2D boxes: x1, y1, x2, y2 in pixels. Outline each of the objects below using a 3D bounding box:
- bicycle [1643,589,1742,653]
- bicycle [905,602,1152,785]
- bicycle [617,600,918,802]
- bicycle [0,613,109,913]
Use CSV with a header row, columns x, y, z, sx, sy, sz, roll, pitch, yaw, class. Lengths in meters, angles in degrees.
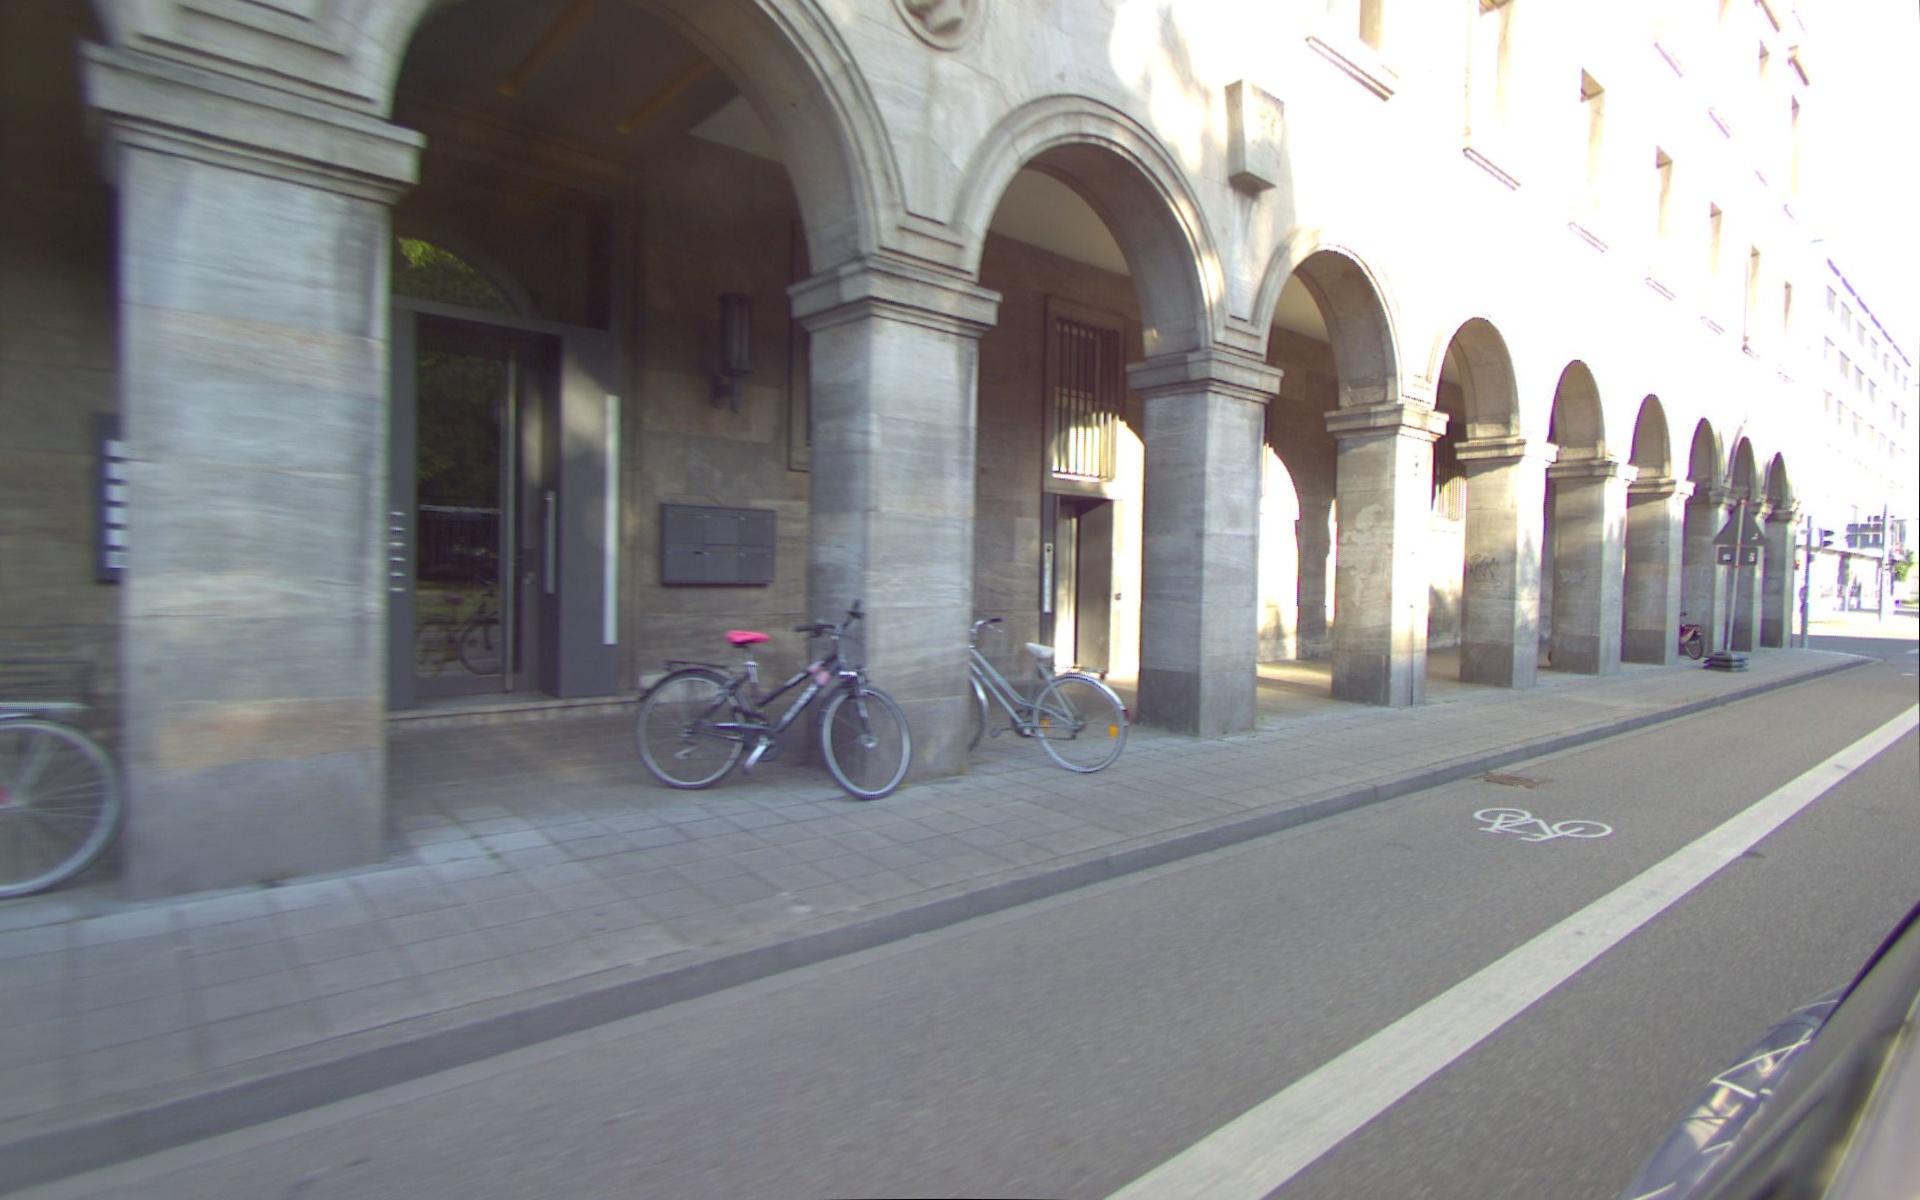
x,y,z,sx,sy,sz,roll,pitch,yaw,class
14.715,0.397,20.392,0.651,1.147,1.714,2,3,-1,bicycle
0.452,0.602,7.215,1.703,1.063,0.521,4,3,35,bicycle
-1.138,0.583,6.161,1.682,1.063,0.612,2,2,3,bicycle
-4.221,0.591,3.662,1.677,1.063,0.473,1,3,-22,bicycle
